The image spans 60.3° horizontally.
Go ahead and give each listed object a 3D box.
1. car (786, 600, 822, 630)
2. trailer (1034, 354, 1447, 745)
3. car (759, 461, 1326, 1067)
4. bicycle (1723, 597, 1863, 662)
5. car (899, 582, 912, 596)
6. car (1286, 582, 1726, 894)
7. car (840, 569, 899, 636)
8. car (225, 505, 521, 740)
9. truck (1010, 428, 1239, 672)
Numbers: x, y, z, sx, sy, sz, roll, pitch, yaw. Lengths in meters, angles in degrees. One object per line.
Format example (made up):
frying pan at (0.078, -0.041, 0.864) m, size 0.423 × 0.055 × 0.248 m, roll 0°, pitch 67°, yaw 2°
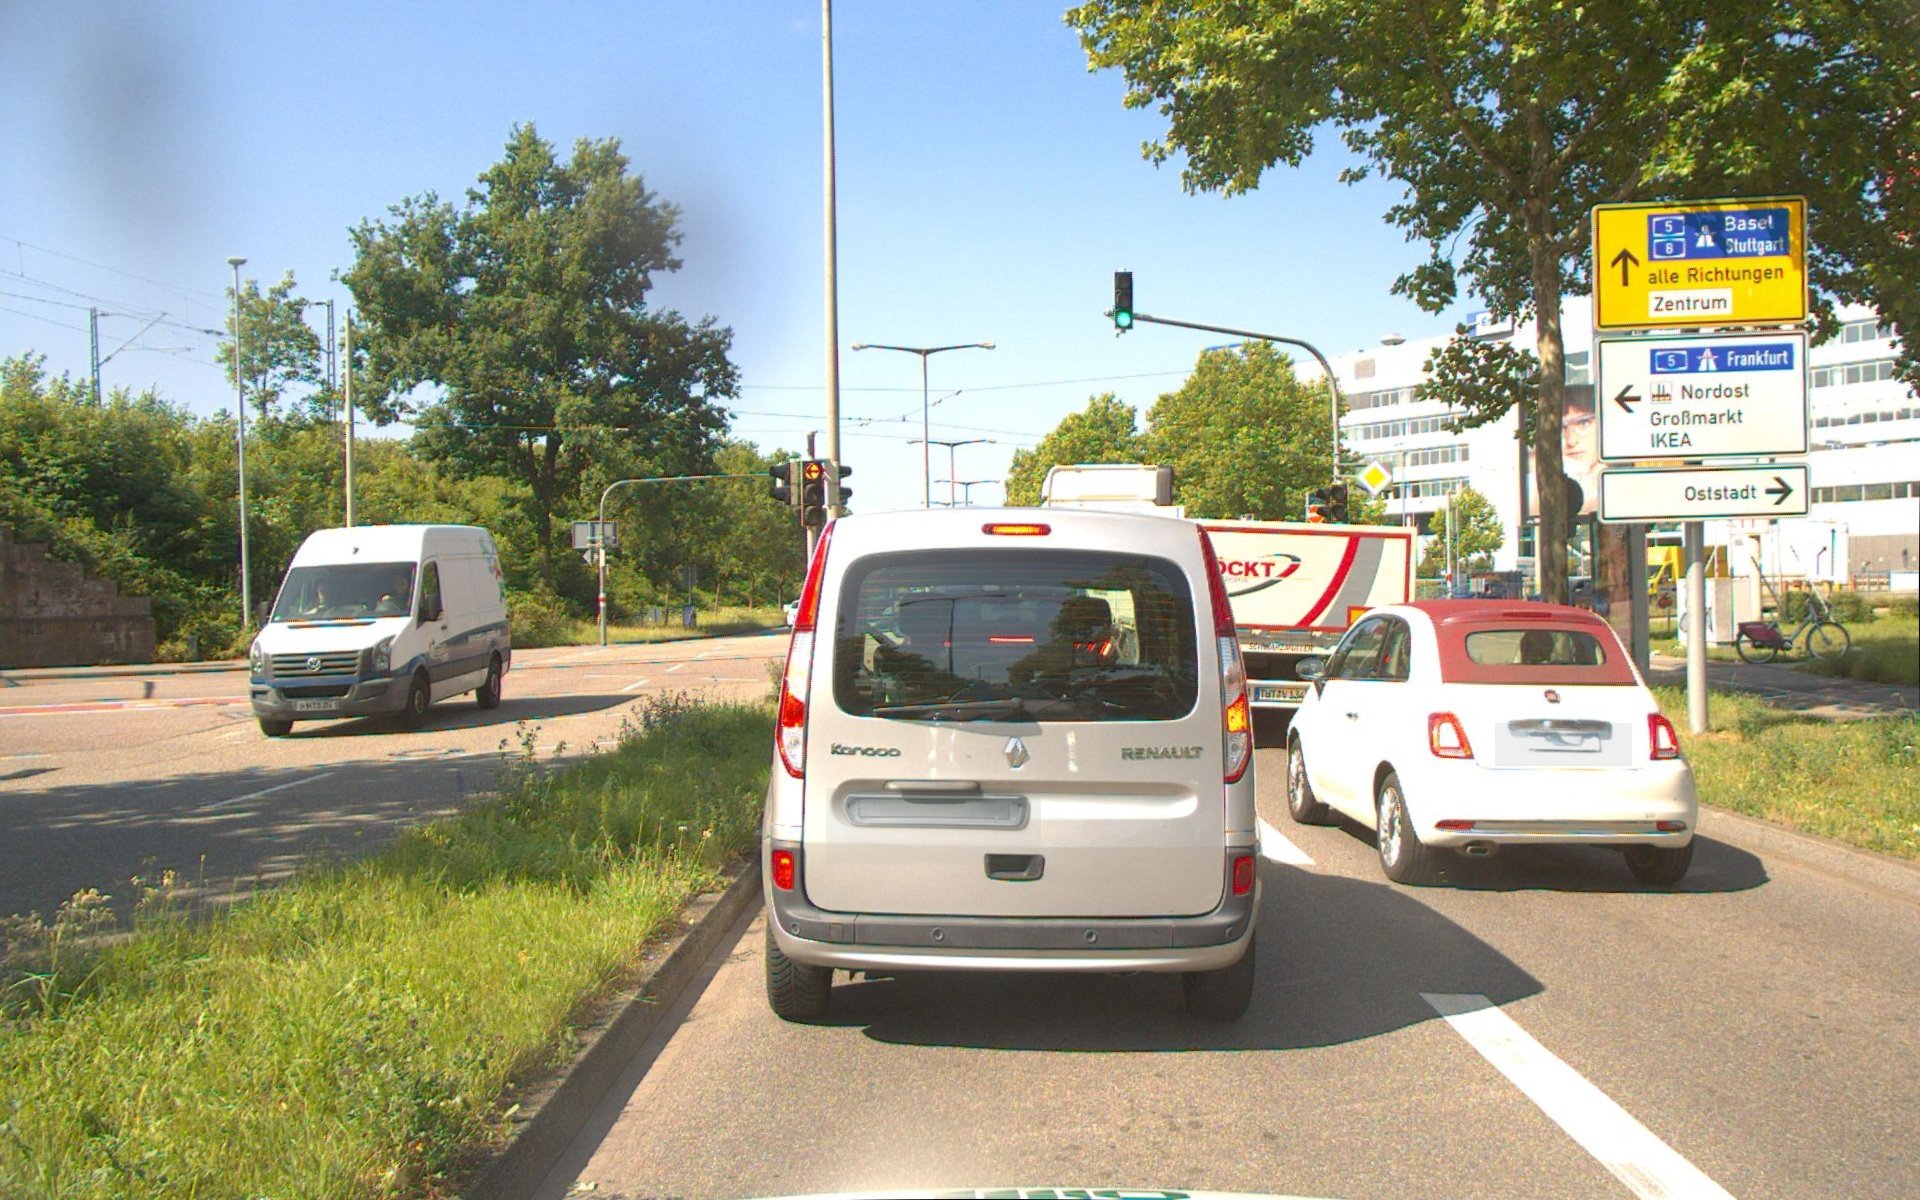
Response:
car at (-8.606, 0.785, 91.377) m, size 1.665 × 1.534 × 3.999 m, roll -1°, pitch 1°, yaw -1°
trailer at (2.972, -0.457, 22.144) m, size 2.842 × 3.686 × 12.679 m, roll 1°, pitch 0°, yaw -2°
car at (0.235, 0.523, 7.181) m, size 1.750 × 1.870 × 3.999 m, roll 1°, pitch 0°, yaw -1°
bicycle at (13.667, 0.484, 27.180) m, size 1.959 × 1.031 × 0.621 m, roll -1°, pitch 0°, yaw 16°
car at (-8.252, -1.607, 250.663) m, size 1.849 × 2.049 × 4.001 m, roll 1°, pitch 0°, yaw 1°
car at (3.061, 0.697, 9.917) m, size 1.507 × 1.541 × 3.259 m, roll 1°, pitch 0°, yaw -1°
car at (-3.776, 0.114, 69.607) m, size 1.952 × 2.653 × 5.135 m, roll -1°, pitch 0°, yaw 2°
car at (-7.705, 0.259, 22.453) m, size 1.953 × 2.709 × 5.785 m, roll -2°, pitch 0°, yaw -1°
truck at (2.650, -0.754, 29.013) m, size 2.853 × 3.707 × 7.184 m, roll 1°, pitch 0°, yaw -3°
